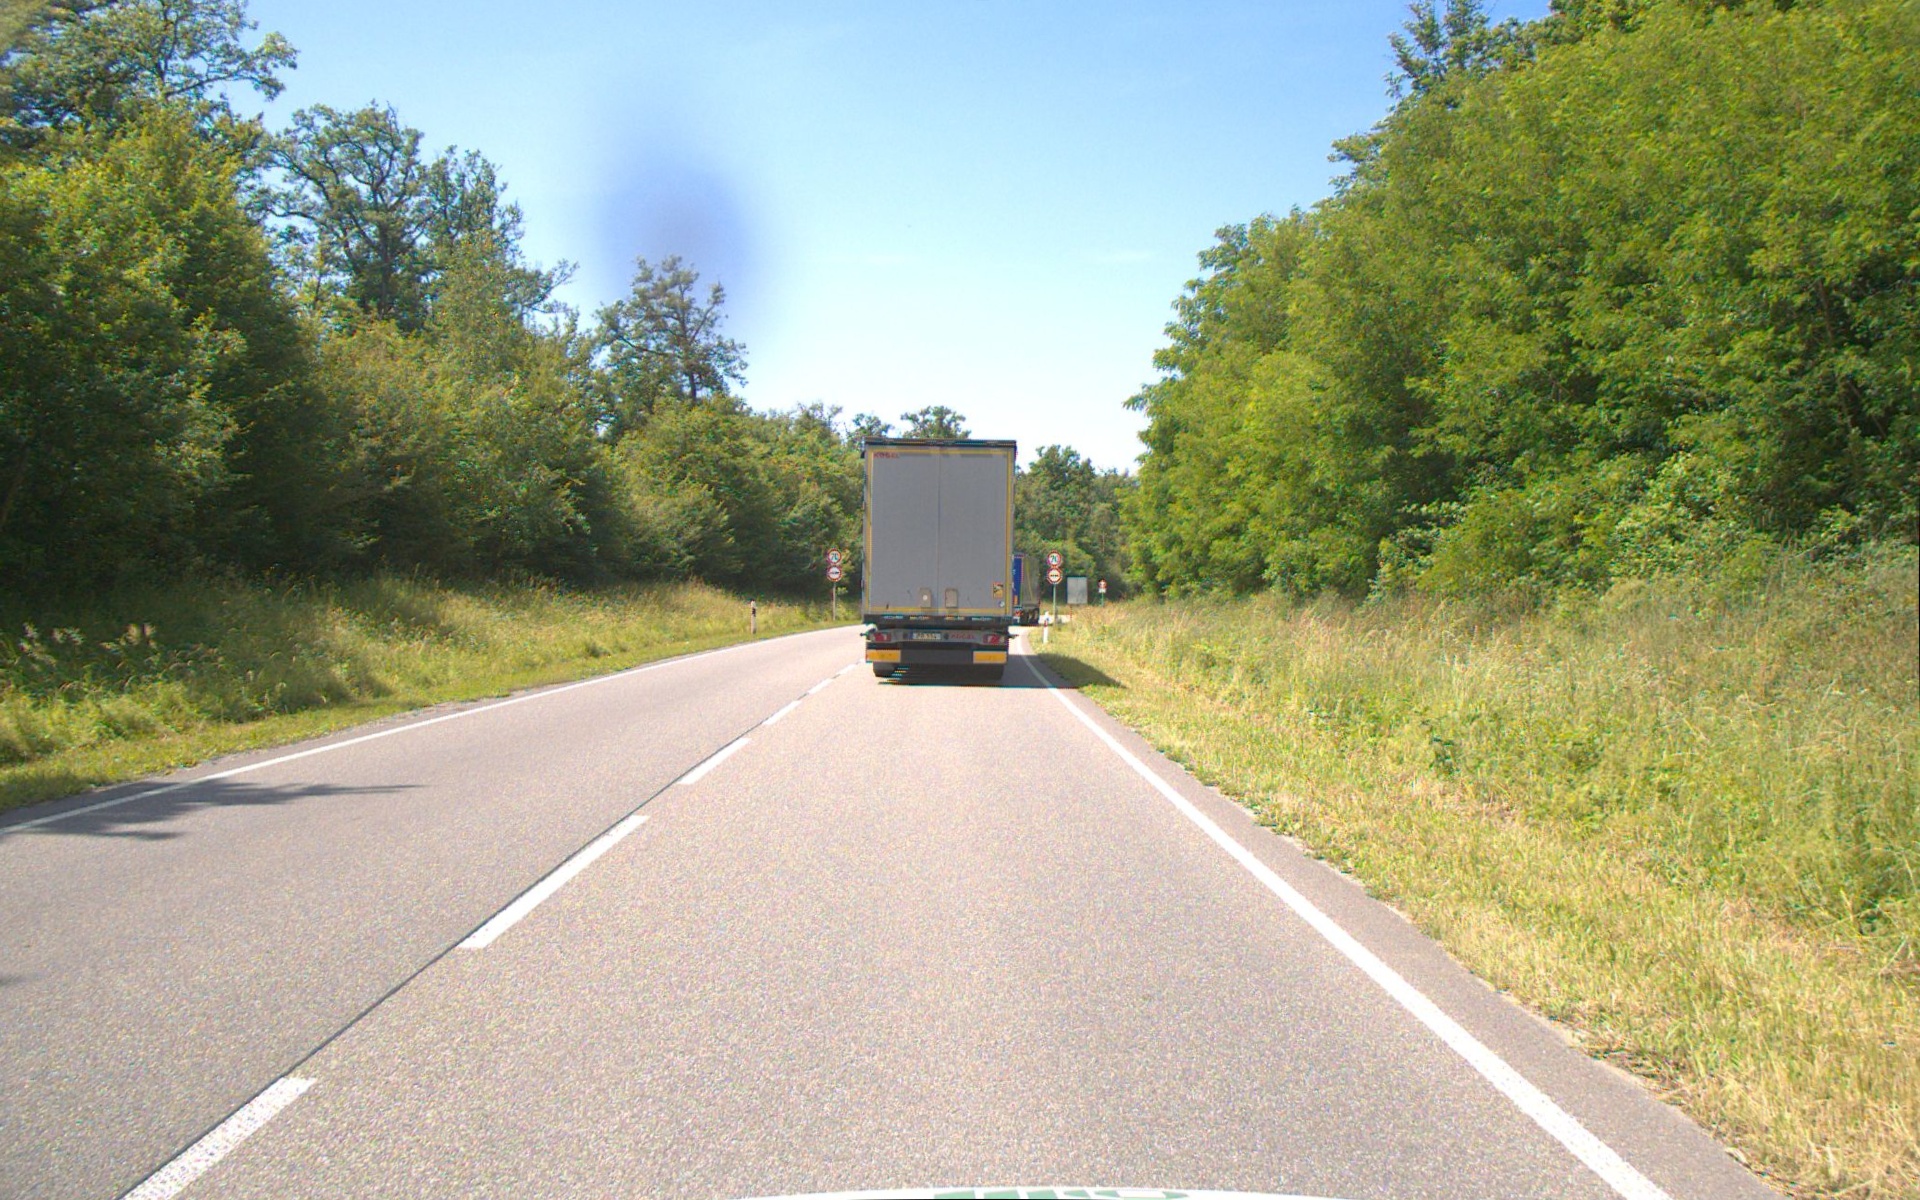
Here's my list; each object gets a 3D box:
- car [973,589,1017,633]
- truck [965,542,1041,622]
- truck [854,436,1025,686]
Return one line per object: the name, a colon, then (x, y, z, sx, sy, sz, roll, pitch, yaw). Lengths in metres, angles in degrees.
car: (1.384, 0.416, 66.846, 1.733, 1.738, 4.000, 0, 0, 0)
truck: (2.770, -1.029, 99.603, 3.713, 4.449, 14.928, 0, 0, 5)
truck: (-0.360, -0.682, 33.090, 2.705, 4.016, 12.197, 1, 0, 0)
